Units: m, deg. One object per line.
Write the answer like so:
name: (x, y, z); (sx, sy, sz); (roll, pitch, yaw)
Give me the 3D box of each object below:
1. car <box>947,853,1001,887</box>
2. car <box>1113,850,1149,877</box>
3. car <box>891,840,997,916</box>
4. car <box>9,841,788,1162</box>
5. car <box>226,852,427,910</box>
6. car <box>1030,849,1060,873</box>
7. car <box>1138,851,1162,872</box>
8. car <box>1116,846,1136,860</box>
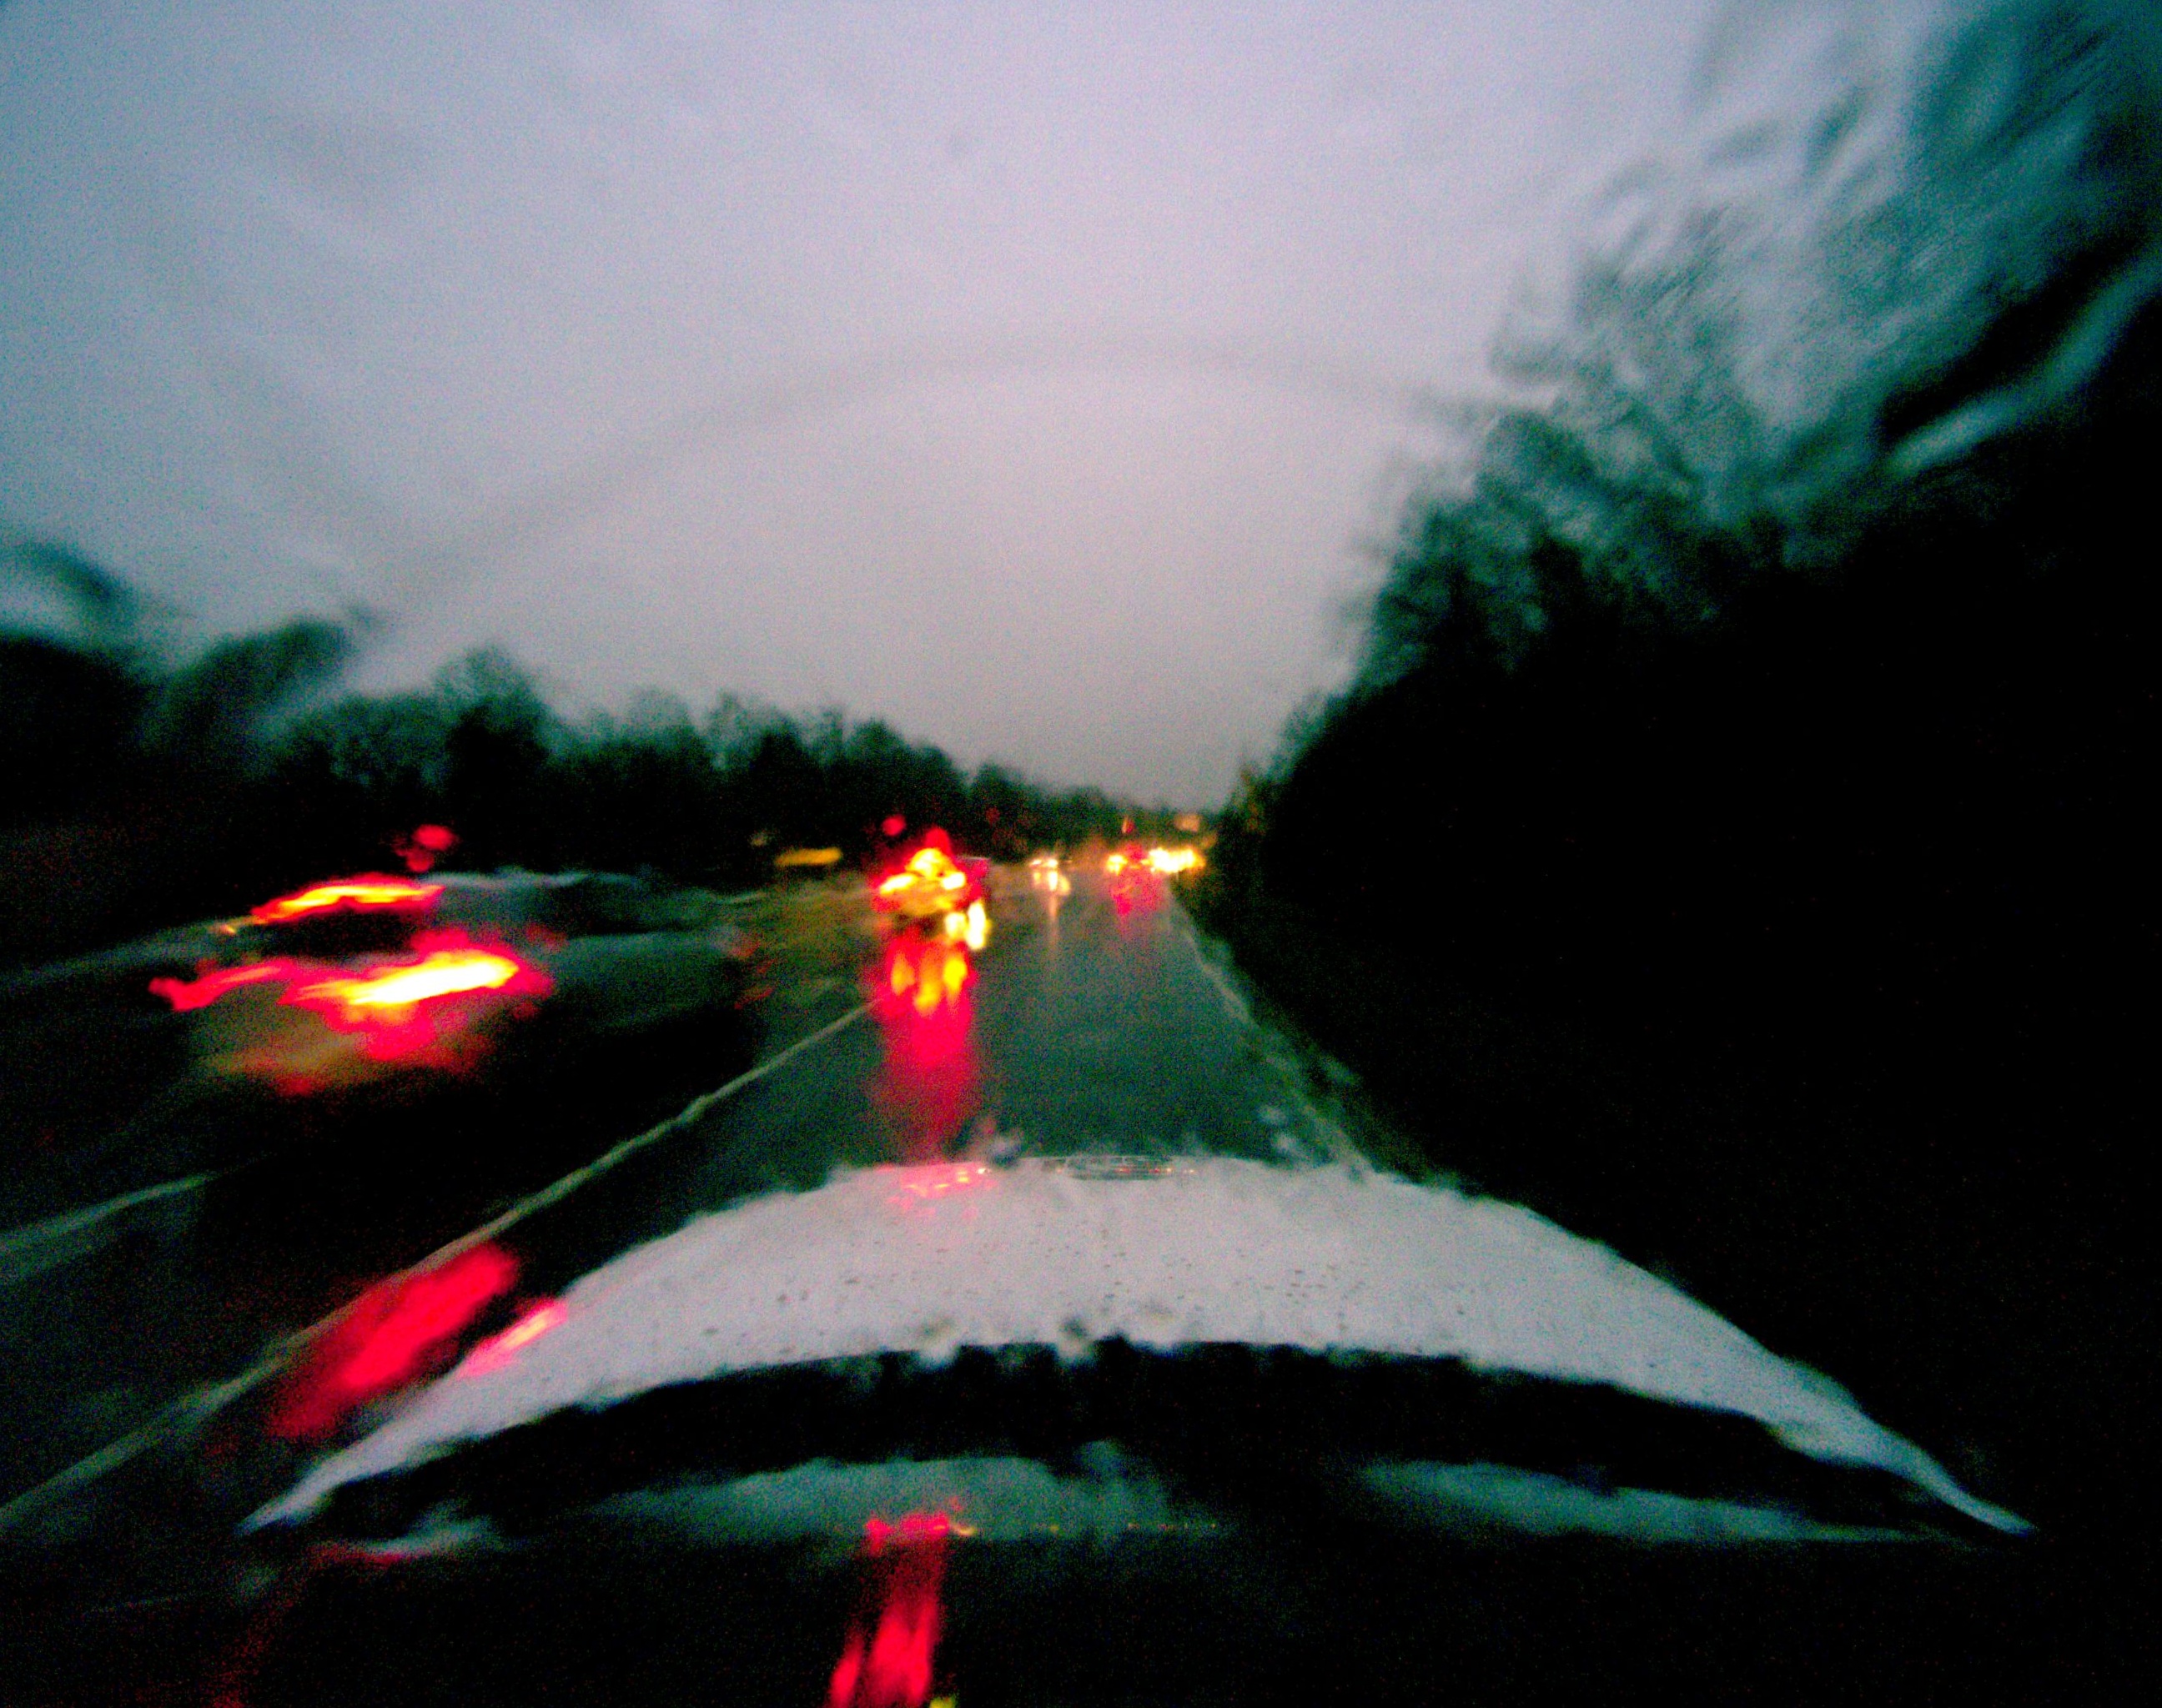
car: (-5.213, 0.757, 40.360); (1.815, 1.616, 4.578); (0, 0, 4)
car: (2.761, 0.494, 44.412); (1.670, 1.389, 4.106); (-1, 0, 7)
car: (-3.170, 0.512, 19.645); (1.706, 1.627, 4.220); (0, 0, 2)
car: (-4.161, 0.730, 6.241); (1.997, 1.556, 4.520); (0, 0, 3)
car: (-25.411, 0.900, 27.576); (1.933, 1.756, 4.839); (1, -1, 44)
car: (-2.972, 0.572, 68.162); (1.828, 1.970, 4.366); (1, 0, 6)
car: (5.822, 0.575, 68.202); (1.669, 1.675, 4.109); (-1, 0, 9)
car: (5.452, -0.098, 98.864); (1.812, 1.523, 4.311); (-1, 1, 10)
